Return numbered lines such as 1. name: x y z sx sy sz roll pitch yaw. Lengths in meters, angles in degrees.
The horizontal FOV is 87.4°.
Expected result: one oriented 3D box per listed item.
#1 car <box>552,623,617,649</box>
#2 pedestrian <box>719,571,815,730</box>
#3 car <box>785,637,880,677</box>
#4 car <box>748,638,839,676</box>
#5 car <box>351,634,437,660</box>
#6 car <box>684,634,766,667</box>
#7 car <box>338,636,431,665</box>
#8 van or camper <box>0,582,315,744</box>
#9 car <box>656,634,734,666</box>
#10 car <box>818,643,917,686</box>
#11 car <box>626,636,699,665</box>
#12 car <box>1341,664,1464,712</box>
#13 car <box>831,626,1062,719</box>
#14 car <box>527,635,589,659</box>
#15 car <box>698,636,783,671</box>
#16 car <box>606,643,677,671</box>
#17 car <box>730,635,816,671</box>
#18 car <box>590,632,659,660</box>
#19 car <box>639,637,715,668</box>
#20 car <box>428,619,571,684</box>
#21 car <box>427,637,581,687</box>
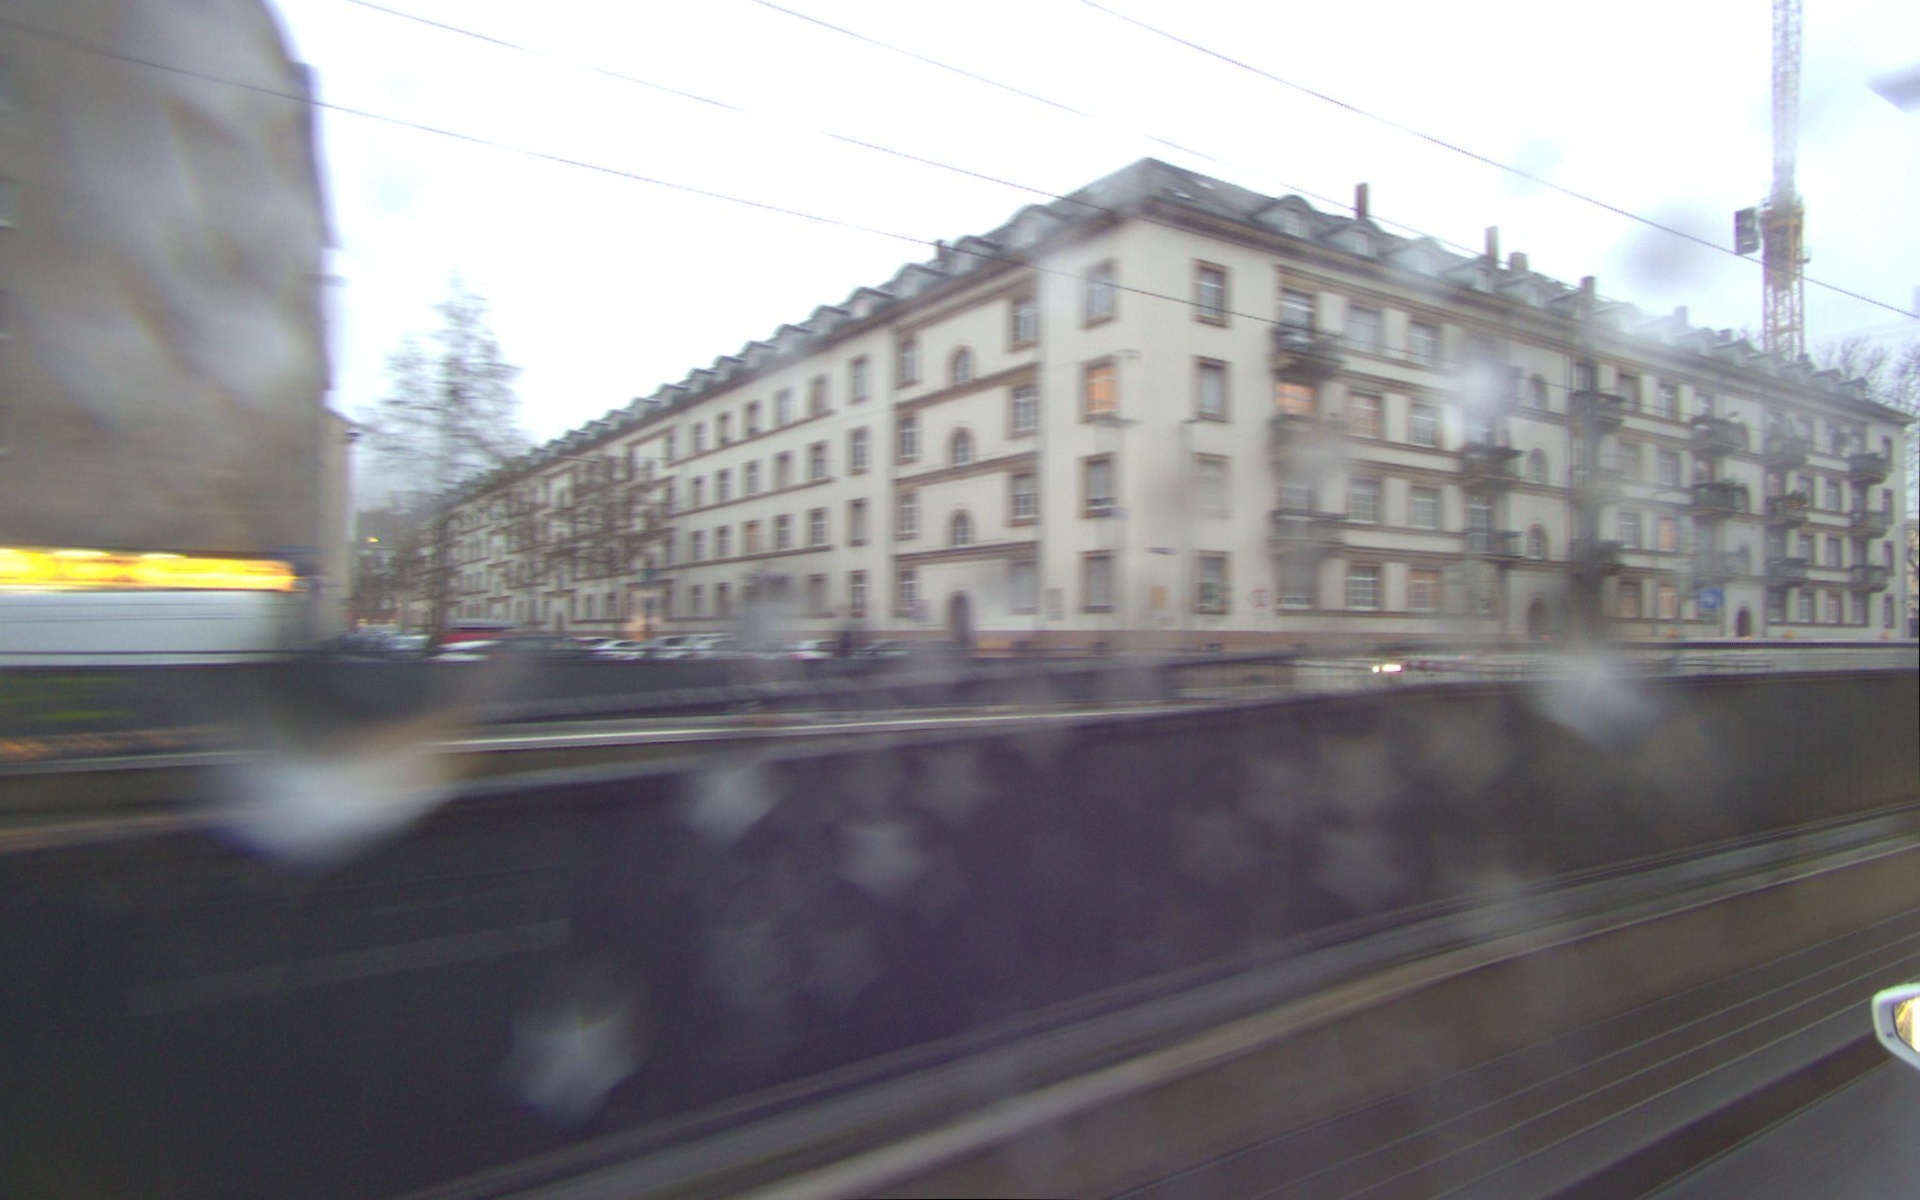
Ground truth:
1. car: -21.787 2.088 58.262 3.283 1.444 1.445 1 -2 -35
2. pedestrian: -2.284 0.576 11.948 0.782 1.803 0.823 1 0 18
3. car: -4.788 2.121 37.889 3.283 1.444 1.445 1 -2 -35
4. car: -6.573 2.217 39.801 3.283 1.444 1.445 1 -2 -35
5. car: -32.088 2.631 56.968 4.106 1.449 1.589 1 -2 -37
6. car: -10.568 2.246 45.227 3.283 1.444 1.445 1 -2 -35
7. car: -30.322 2.630 52.952 4.106 1.449 1.589 1 -2 -37
8. van or camper: -16.025 1.076 18.397 6.659 2.718 2.766 1 0 -24
9. car: -12.443 2.313 47.232 3.283 1.444 1.445 1 -2 -35
10. car: -3.307 2.277 35.993 3.283 1.444 1.445 1 -2 -35
11. car: -14.987 2.523 50.678 3.283 1.444 1.445 1 -2 -35
12. car: 12.011 2.350 27.224 3.390 1.138 1.446 1 -2 -33
13. car: -0.195 1.160 16.803 3.506 1.372 1.673 2 -1 -32
14. car: -24.679 2.856 61.715 3.283 1.444 1.445 1 -2 -35
15. car: -9.429 2.254 43.159 3.283 1.444 1.445 1 -2 -35
16. car: -16.789 2.985 52.965 3.283 1.444 1.445 1 -2 -35
17. car: -7.878 2.213 42.380 3.283 1.444 1.445 1 -2 -35
18. car: -18.323 2.497 54.880 3.283 1.444 1.445 1 -2 -35
19. car: -13.816 2.532 49.110 3.283 1.444 1.445 1 -2 -35
20. car: -15.587 1.714 34.113 4.113 2.061 1.727 2 -3 -42
21. car: -14.265 1.895 31.560 4.113 1.449 1.587 2 -3 -42
